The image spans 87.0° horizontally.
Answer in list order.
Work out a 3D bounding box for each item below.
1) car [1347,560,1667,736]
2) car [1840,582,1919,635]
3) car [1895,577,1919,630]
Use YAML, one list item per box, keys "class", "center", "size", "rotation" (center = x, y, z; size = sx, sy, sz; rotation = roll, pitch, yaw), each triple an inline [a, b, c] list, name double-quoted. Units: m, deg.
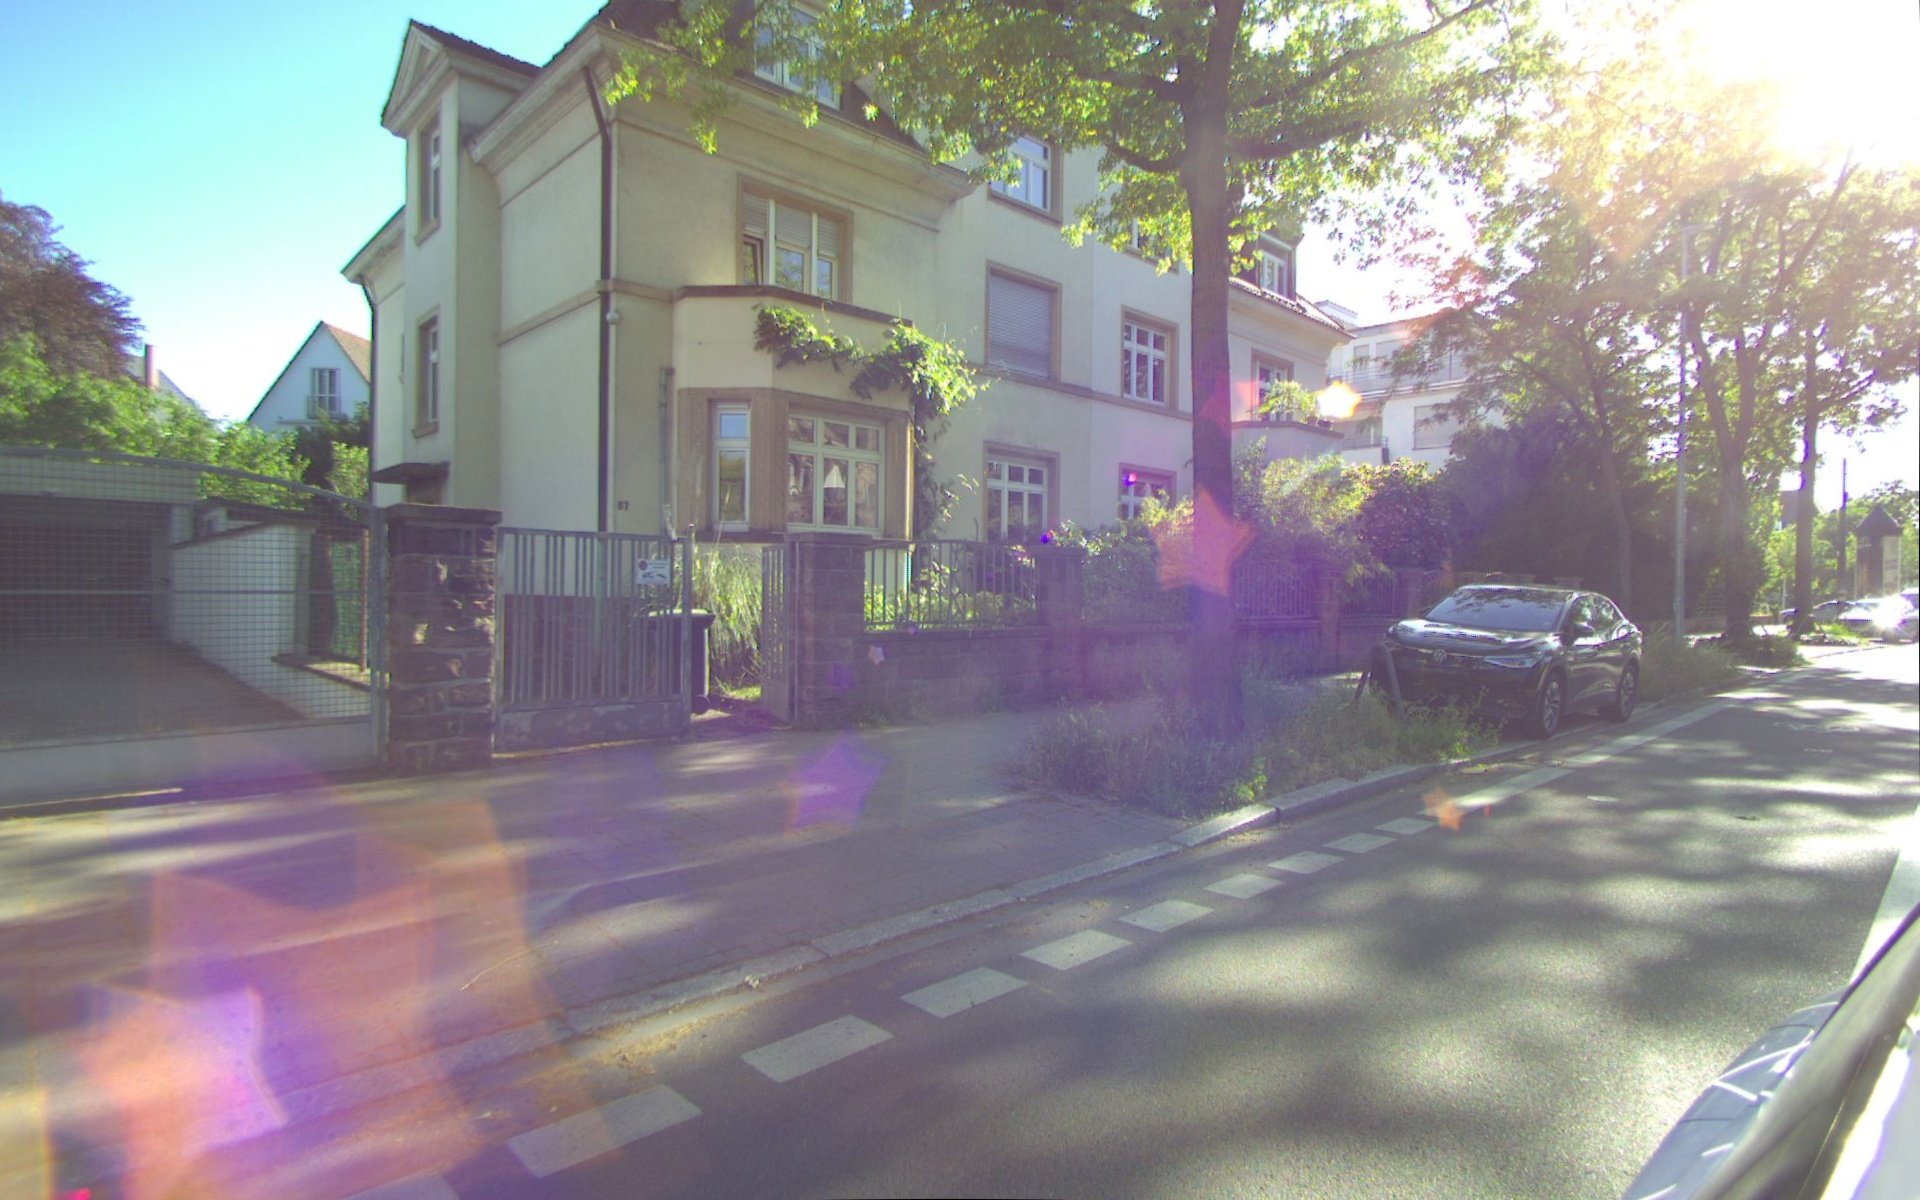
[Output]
- class: "car"
  center: [6.700, 0.482, 12.202]
  size: [4.304, 1.695, 1.997]
  rotation: [1, 2, -42]
- class: "car"
  center: [31.434, 0.253, 34.203]
  size: [3.927, 1.660, 1.824]
  rotation: [0, 1, -38]
- class: "car"
  center: [36.769, 0.133, 37.876]
  size: [4.663, 1.919, 2.128]
  rotation: [0, 1, -41]
